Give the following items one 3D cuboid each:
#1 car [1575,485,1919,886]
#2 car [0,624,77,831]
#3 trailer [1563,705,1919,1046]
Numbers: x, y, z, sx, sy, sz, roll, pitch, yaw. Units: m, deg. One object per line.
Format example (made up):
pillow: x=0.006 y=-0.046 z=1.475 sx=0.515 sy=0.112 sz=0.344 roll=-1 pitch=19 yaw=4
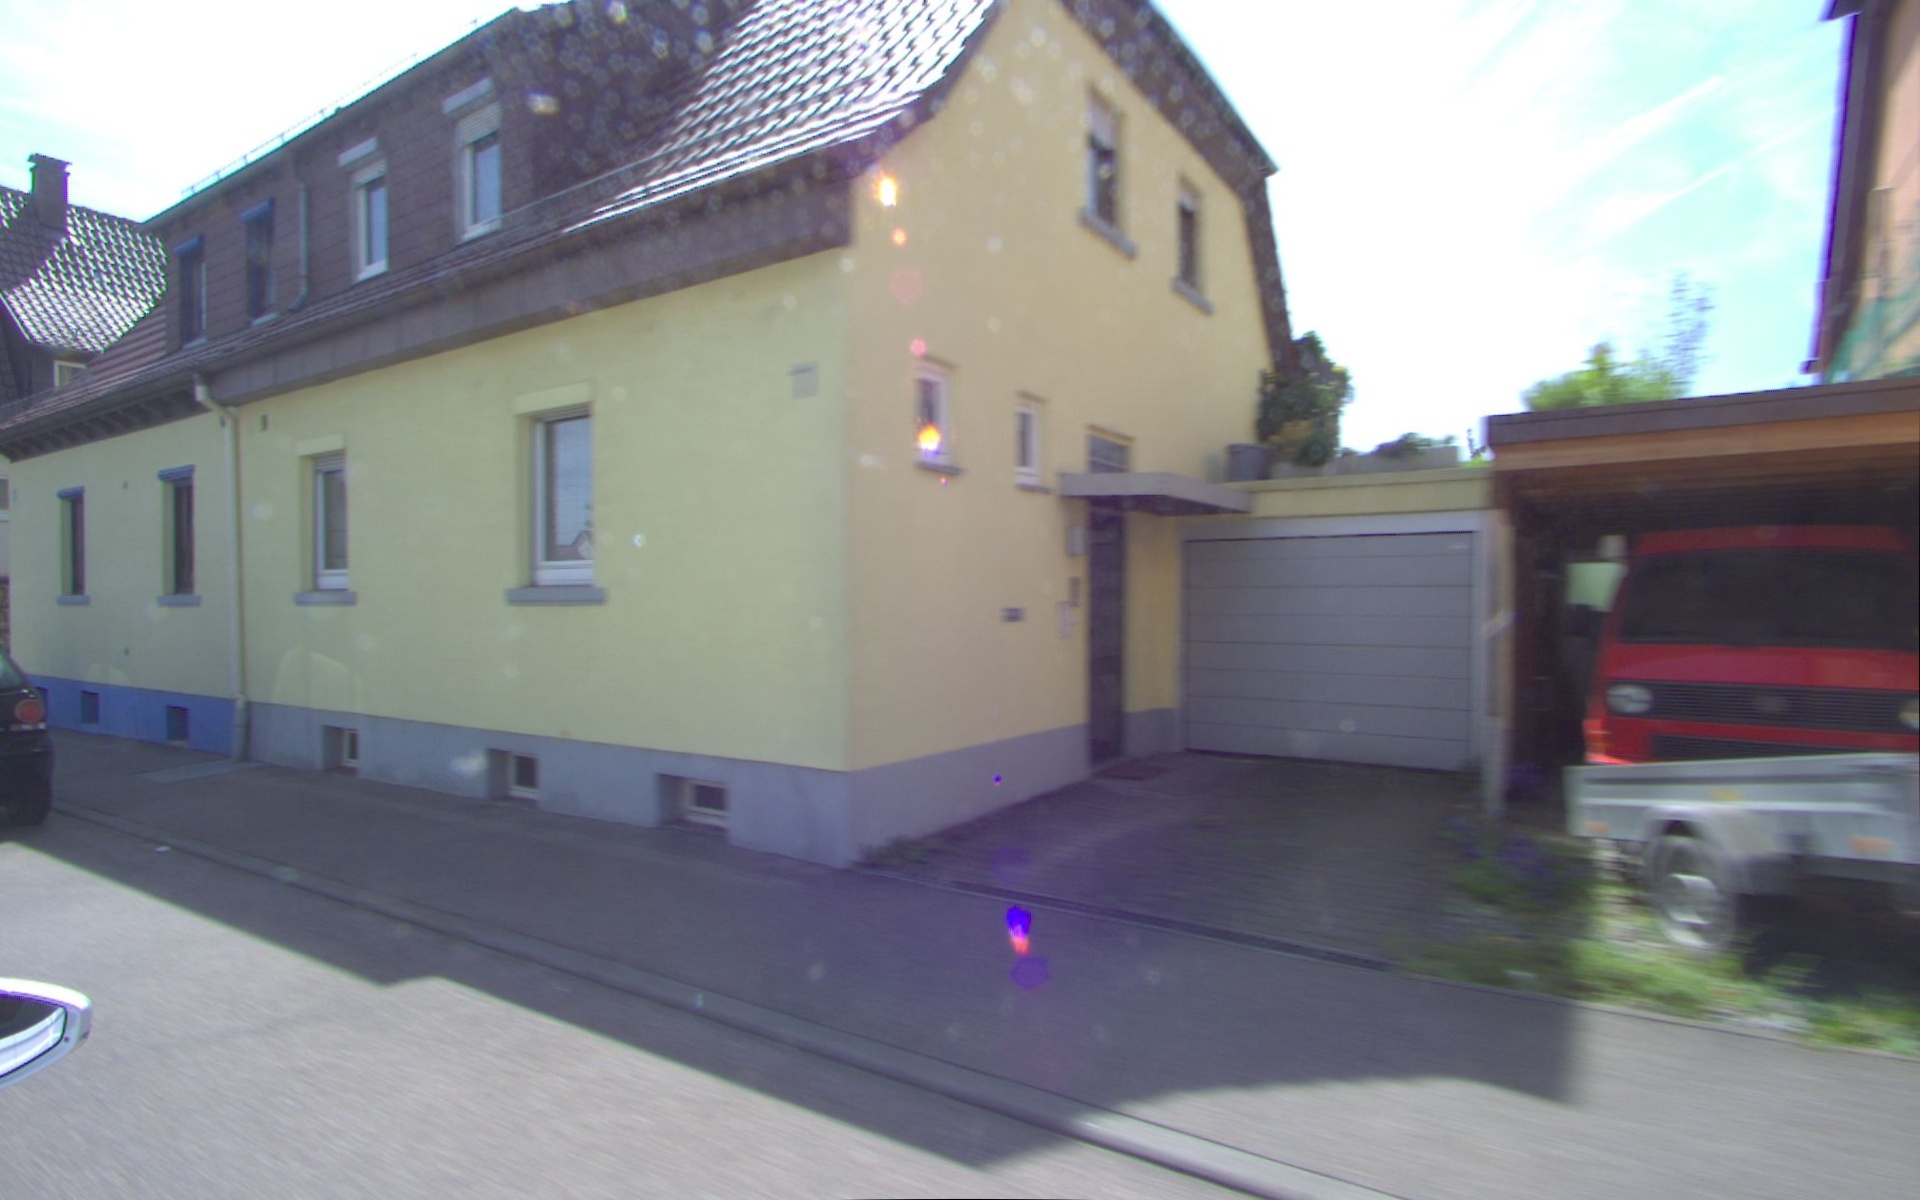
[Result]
car: x=5.651 y=0.495 z=7.350 sx=1.810 sy=2.098 sz=4.202 roll=-1 pitch=-1 yaw=33
car: x=-8.469 y=0.902 z=7.695 sx=3.701 sy=1.449 sz=1.607 roll=-1 pitch=-1 yaw=33
trailer: x=3.747 y=0.991 z=4.220 sx=1.218 sy=0.911 sz=2.142 roll=0 pitch=-1 yaw=4
